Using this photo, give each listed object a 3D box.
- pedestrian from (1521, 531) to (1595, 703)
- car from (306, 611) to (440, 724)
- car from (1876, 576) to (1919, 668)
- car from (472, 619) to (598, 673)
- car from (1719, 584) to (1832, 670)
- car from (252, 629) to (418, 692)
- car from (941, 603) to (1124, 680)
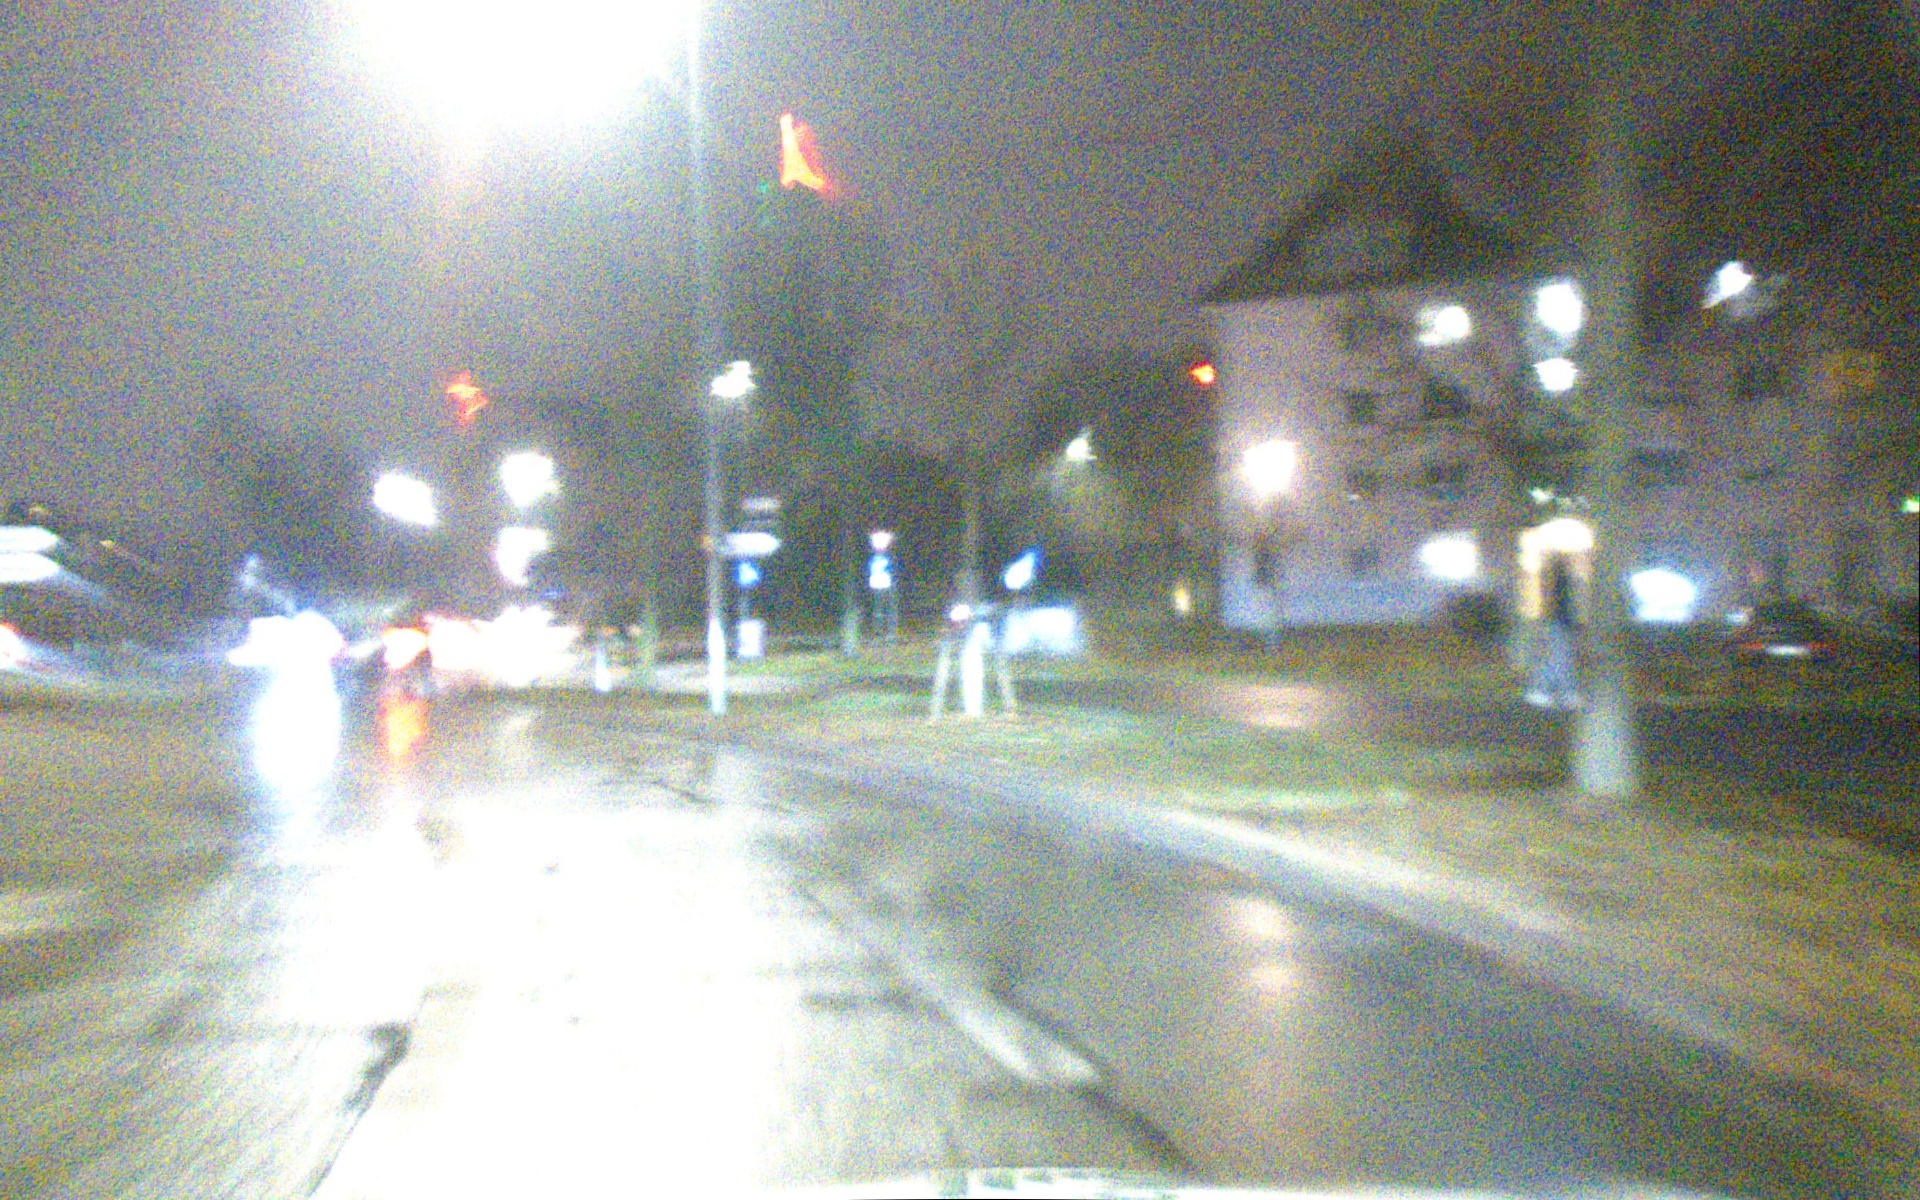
[{"bbox_3d":[6.875,0.188,19.039,0.638,1.935,0.729,0,0,6],"label":"pedestrian"},{"bbox_3d":[-11.710,1.267,33.262,1.959,2.049,4.543,0,0,-12],"label":"car"},{"bbox_3d":[17.778,0.435,29.863,1.681,1.523,3.910,-1,-3,23],"label":"car"},{"bbox_3d":[-15.314,1.640,59.827,1.838,1.789,4.384,0,0,32],"label":"car"},{"bbox_3d":[15.465,0.464,31.517,1.681,1.523,3.911,0,0,23],"label":"car"},{"bbox_3d":[-19.651,1.867,52.169,1.959,1.766,4.604,0,0,35],"label":"car"},{"bbox_3d":[1.715,0.947,39.196,3.915,1.713,1.914,0,0,32],"label":"car"}]
